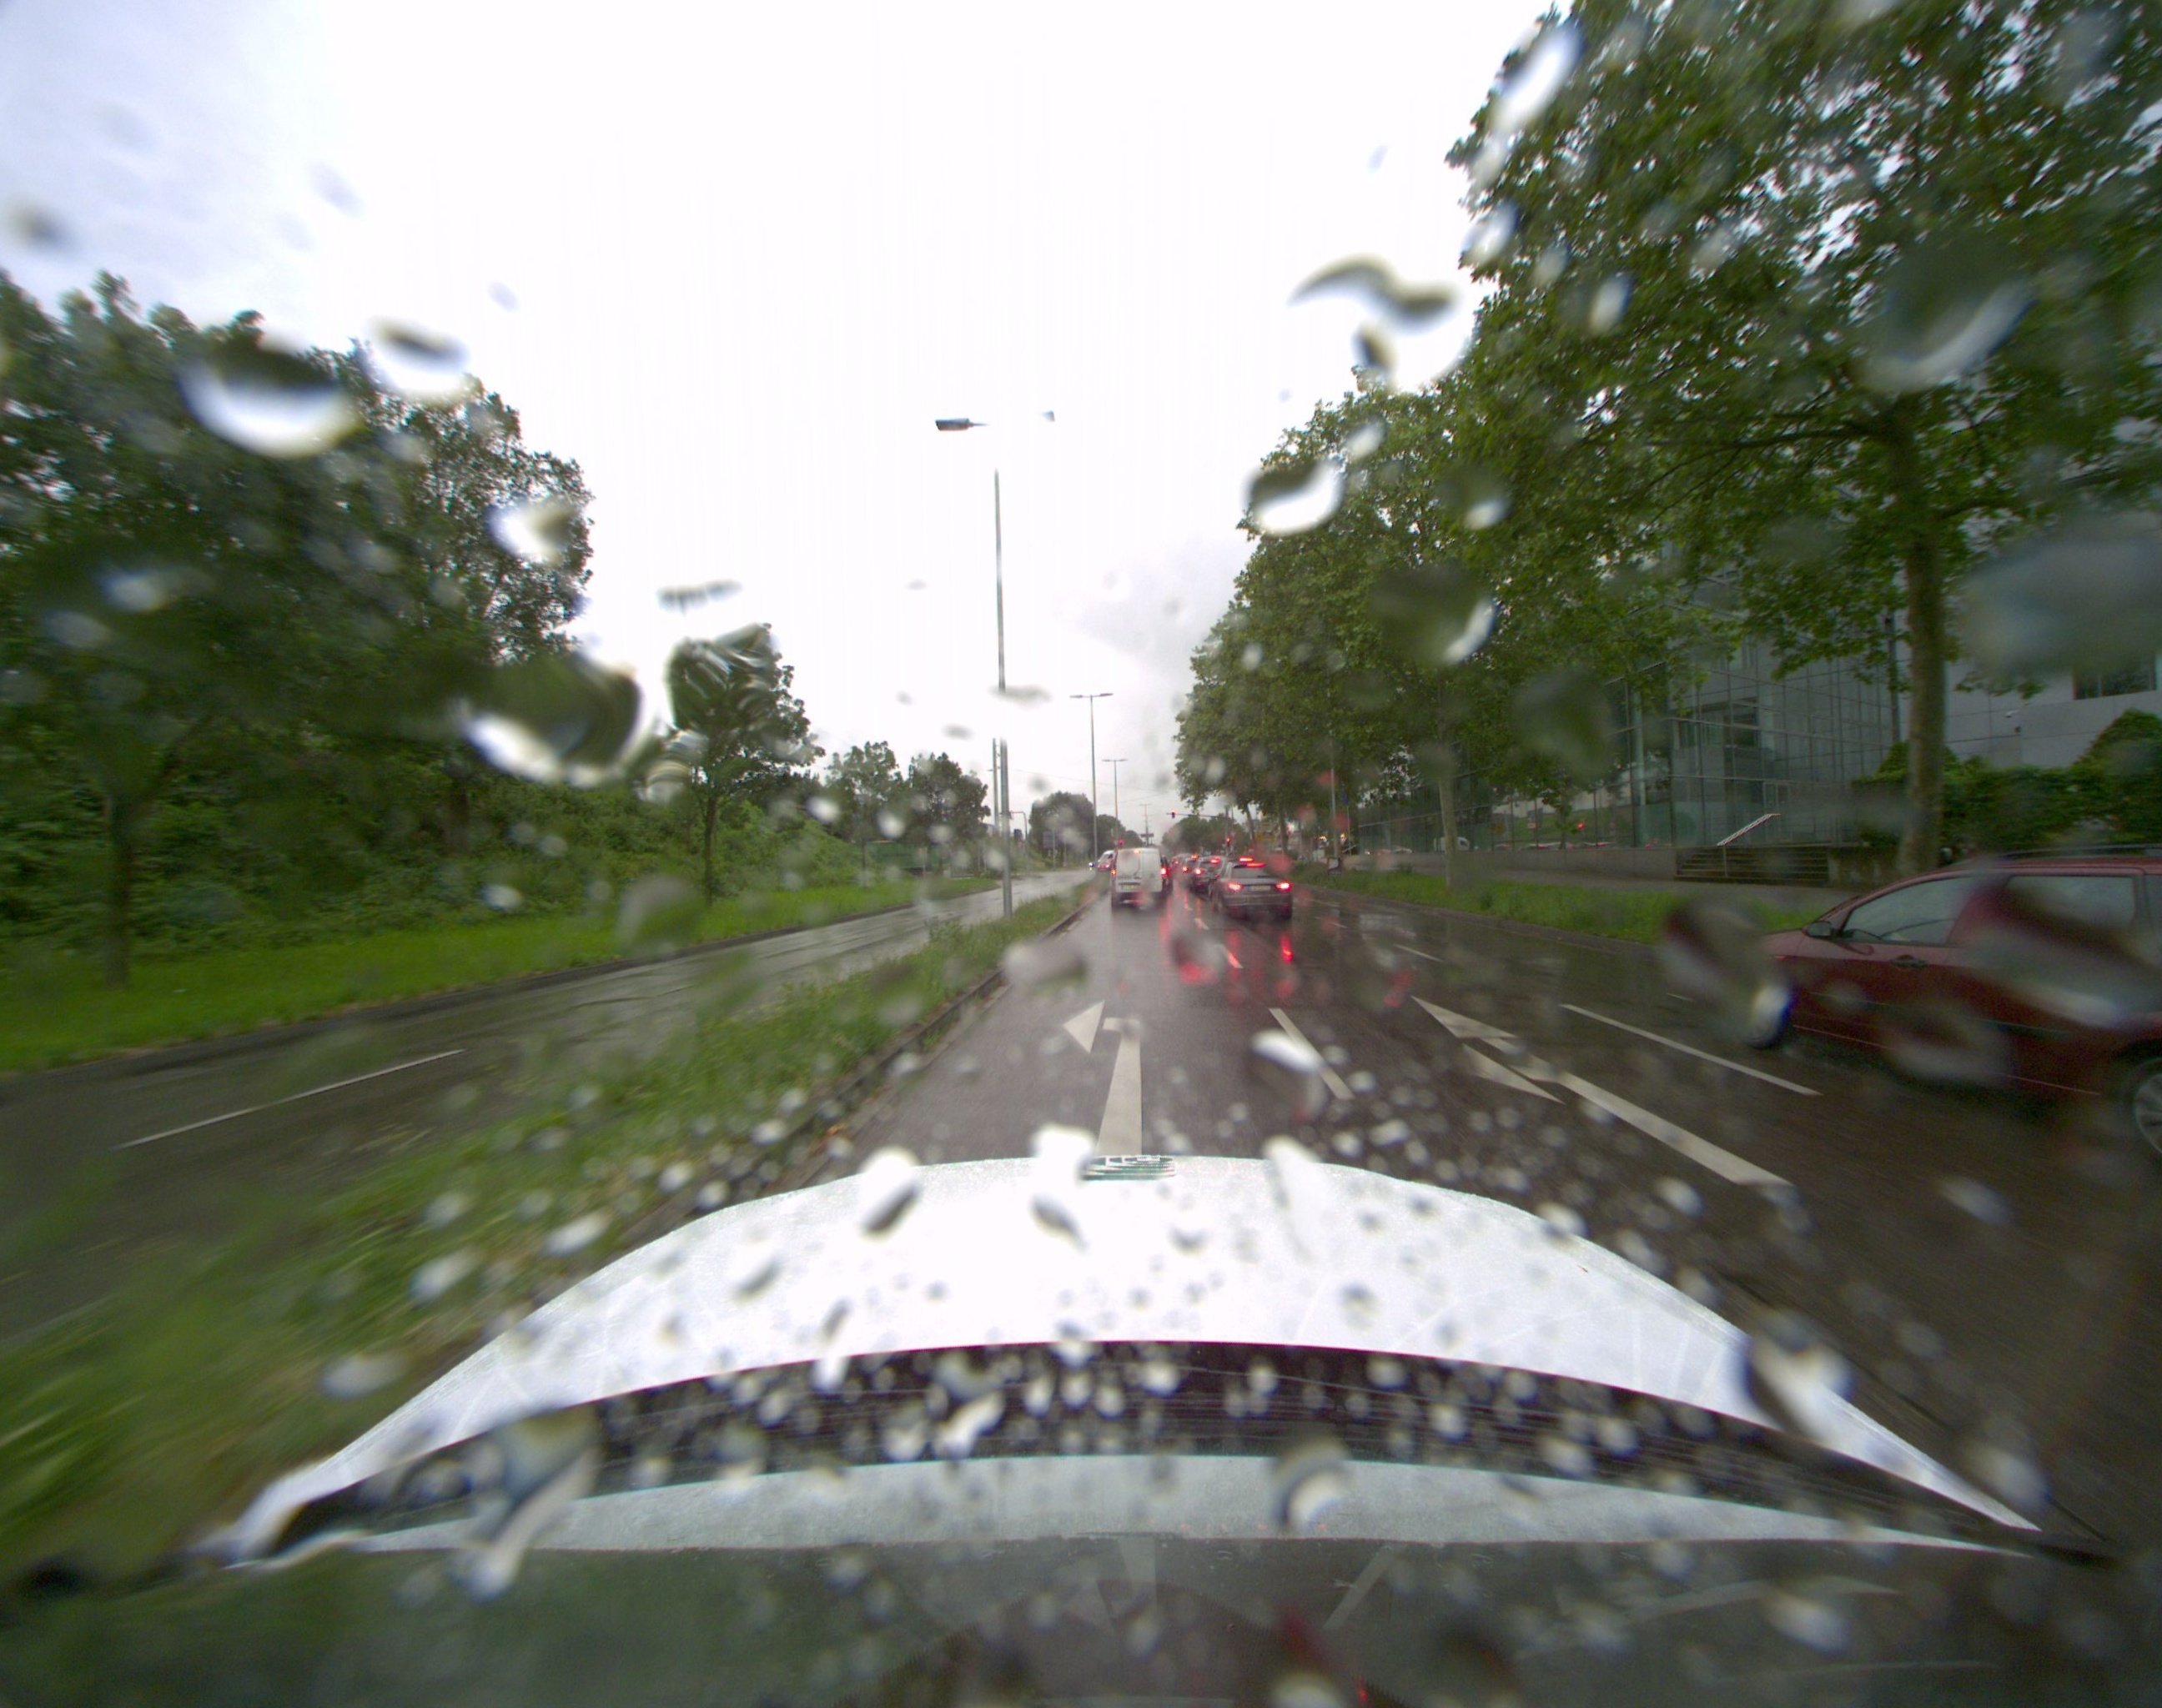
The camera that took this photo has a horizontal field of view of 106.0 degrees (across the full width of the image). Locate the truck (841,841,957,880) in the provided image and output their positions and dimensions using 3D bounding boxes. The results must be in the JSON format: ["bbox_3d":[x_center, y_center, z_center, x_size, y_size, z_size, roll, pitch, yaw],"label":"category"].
[{"bbox_3d":[-16.802,0.621,75.678,10.177,3.452,2.631,0,-2,-33],"label":"truck"}]

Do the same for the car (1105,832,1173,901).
[{"bbox_3d":[1.846,0.396,26.395,1.985,2.014,4.003,-1,-1,3],"label":"car"}]

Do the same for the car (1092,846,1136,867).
[{"bbox_3d":[4.587,0.357,113.833,6.041,2.744,1.980,0,-2,-32],"label":"car"}]

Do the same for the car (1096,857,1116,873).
[{"bbox_3d":[2.600,1.134,84.050,1.707,1.513,3.619,-4,0,5],"label":"car"}]

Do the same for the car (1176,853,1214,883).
[{"bbox_3d":[5.918,0.706,42.547,1.703,1.445,4.005,-1,0,5],"label":"car"}]

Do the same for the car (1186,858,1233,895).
[{"bbox_3d":[5.467,0.932,35.003,1.703,1.445,4.005,-1,0,5],"label":"car"}]

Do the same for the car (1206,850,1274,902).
[{"bbox_3d":[5.272,0.683,27.496,1.701,1.550,4.003,-1,0,3],"label":"car"}]

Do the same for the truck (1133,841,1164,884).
[{"bbox_3d":[4.046,0.512,49.141,1.749,2.466,4.003,-1,-1,3],"label":"truck"}]

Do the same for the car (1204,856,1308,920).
[{"bbox_3d":[4.324,0.805,20.774,1.985,1.452,4.003,-1,-1,3],"label":"car"}]

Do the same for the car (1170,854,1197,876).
[{"bbox_3d":[7.164,0.721,57.210,1.703,1.445,4.005,-1,0,5],"label":"car"}]

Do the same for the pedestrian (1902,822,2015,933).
[{"bbox_3d":[14.558,0.374,13.547,0.662,1.762,1.075,-1,-1,-1],"label":"pedestrian"}]

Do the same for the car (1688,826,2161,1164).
[{"bbox_3d":[5.899,0.643,4.751,1.831,1.537,4.115,-1,-1,4],"label":"car"}]
